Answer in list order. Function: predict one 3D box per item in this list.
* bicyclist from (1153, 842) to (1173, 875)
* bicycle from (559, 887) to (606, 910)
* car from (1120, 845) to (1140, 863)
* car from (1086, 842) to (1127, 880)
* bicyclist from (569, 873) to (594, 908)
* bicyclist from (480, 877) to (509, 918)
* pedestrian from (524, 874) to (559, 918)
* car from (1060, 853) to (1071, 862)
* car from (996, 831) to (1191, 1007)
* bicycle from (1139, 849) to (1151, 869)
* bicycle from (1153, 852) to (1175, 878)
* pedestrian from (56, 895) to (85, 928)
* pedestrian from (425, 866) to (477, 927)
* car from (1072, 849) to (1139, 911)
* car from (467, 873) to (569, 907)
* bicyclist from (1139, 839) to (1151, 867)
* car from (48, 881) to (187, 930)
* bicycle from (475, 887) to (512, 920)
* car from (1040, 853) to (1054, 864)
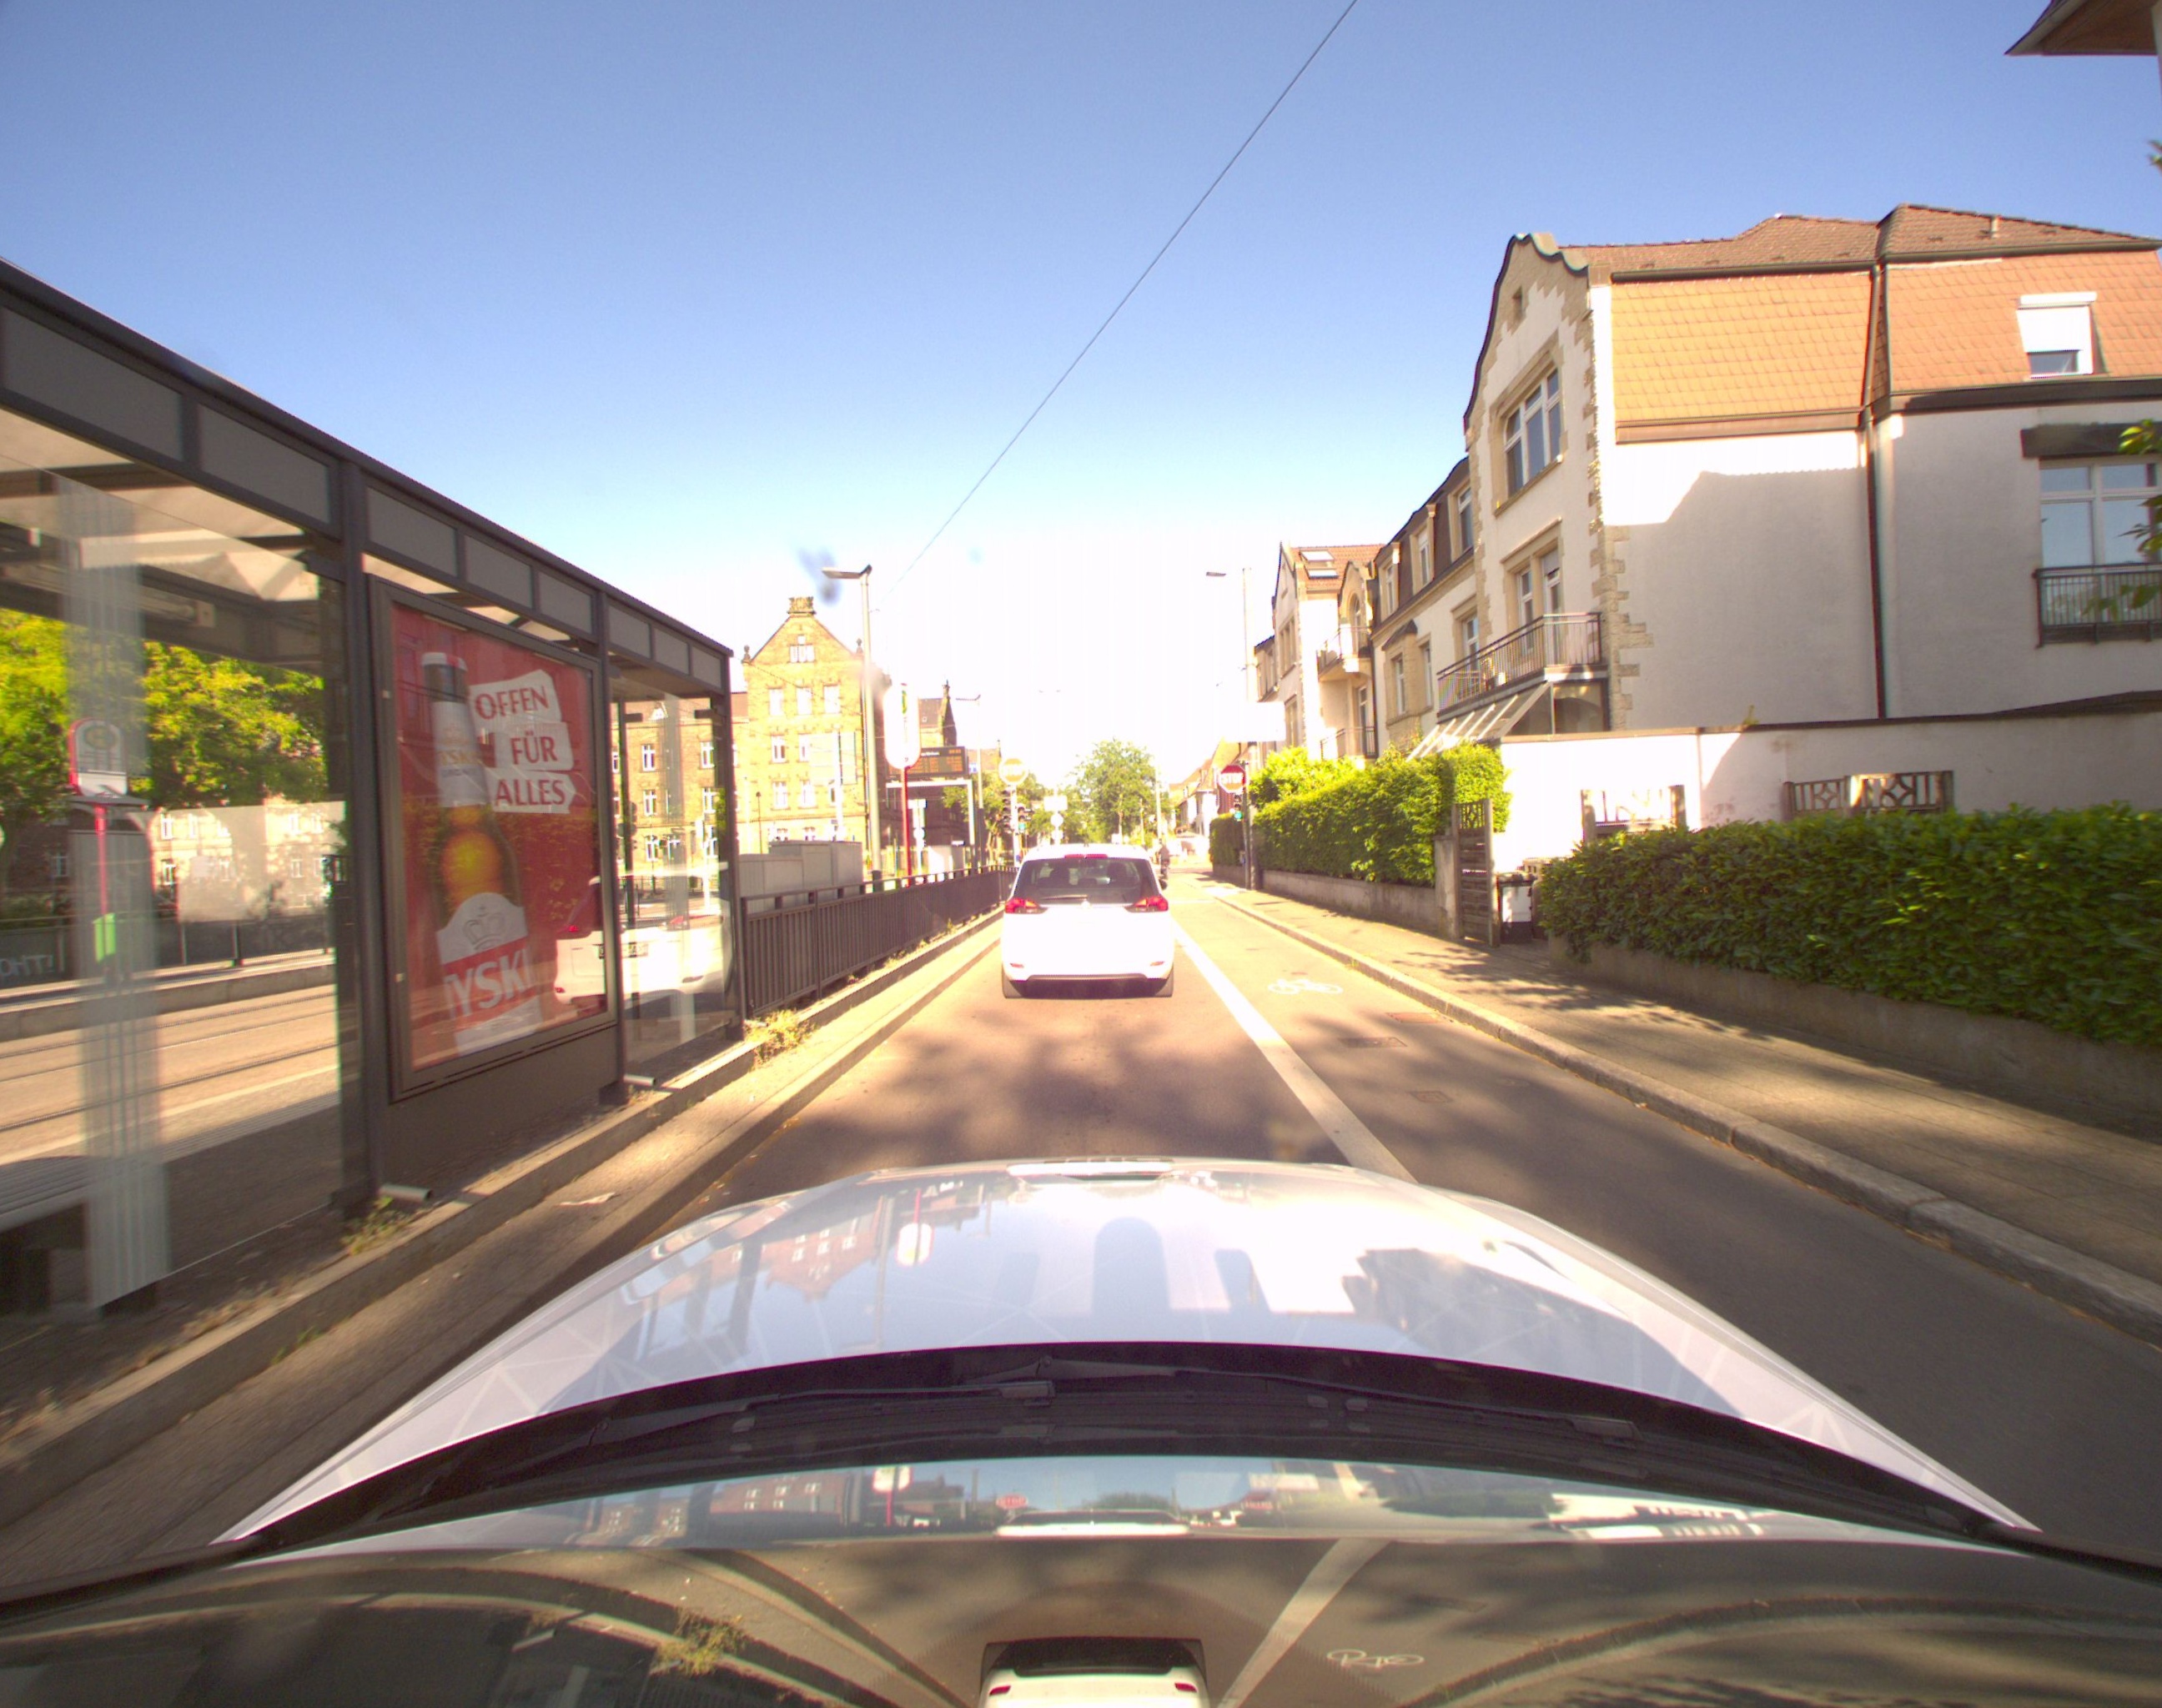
[{"bbox_3d":[3.846,0.191,38.106,0.818,1.501,0.934,-2,0,1],"label":"bicyclist"},{"bbox_3d":[-24.154,2.140,39.454,1.728,1.013,0.802,-2,0,2],"label":"bicycle"},{"bbox_3d":[4.790,0.008,79.446,1.767,1.632,3.886,-2,0,5],"label":"car"},{"bbox_3d":[1.233,0.311,38.731,1.769,1.632,3.883,-2,0,2],"label":"car"},{"bbox_3d":[-24.203,1.743,39.455,0.631,1.635,0.802,-2,0,2],"label":"bicyclist"},{"bbox_3d":[-20.761,1.521,28.837,0.692,1.383,0.530,-2,0,-24],"label":"bicyclist"},{"bbox_3d":[-19.929,1.548,30.089,0.568,1.569,0.836,-1,1,22],"label":"pedestrian"},{"bbox_3d":[-2.584,0.628,138.129,1.574,1.441,3.589,-2,0,4],"label":"car"},{"bbox_3d":[0.218,0.628,9.803,1.827,1.642,3.921,-2,0,3],"label":"car"},{"bbox_3d":[3.801,0.300,48.179,0.682,1.157,1.621,-2,0,5],"label":"bicycle"},{"bbox_3d":[3.866,0.500,38.163,0.826,1.154,2.095,-2,0,2],"label":"bicycle"},{"bbox_3d":[-50.348,2.852,40.582,0.712,1.598,0.539,-2,0,2],"label":"pedestrian"},{"bbox_3d":[-20.135,1.339,26.039,0.723,1.861,1.098,-2,0,4],"label":"pedestrian"},{"bbox_3d":[0.736,0.638,21.926,1.579,1.420,3.905,-3,0,4],"label":"car"},{"bbox_3d":[-29.286,1.856,42.445,4.046,1.522,1.879,-2,0,4],"label":"car"},{"bbox_3d":[3.787,-0.056,48.209,0.682,1.634,1.017,-2,0,4],"label":"bicyclist"},{"bbox_3d":[-53.673,2.845,45.443,5.011,2.452,2.261,-2,0,1],"label":"car"},{"bbox_3d":[-20.706,1.718,28.729,0.694,1.049,1.656,-2,0,-24],"label":"bicycle"},{"bbox_3d":[-4.817,0.674,115.989,1.574,1.441,3.589,-2,0,4],"label":"car"}]
